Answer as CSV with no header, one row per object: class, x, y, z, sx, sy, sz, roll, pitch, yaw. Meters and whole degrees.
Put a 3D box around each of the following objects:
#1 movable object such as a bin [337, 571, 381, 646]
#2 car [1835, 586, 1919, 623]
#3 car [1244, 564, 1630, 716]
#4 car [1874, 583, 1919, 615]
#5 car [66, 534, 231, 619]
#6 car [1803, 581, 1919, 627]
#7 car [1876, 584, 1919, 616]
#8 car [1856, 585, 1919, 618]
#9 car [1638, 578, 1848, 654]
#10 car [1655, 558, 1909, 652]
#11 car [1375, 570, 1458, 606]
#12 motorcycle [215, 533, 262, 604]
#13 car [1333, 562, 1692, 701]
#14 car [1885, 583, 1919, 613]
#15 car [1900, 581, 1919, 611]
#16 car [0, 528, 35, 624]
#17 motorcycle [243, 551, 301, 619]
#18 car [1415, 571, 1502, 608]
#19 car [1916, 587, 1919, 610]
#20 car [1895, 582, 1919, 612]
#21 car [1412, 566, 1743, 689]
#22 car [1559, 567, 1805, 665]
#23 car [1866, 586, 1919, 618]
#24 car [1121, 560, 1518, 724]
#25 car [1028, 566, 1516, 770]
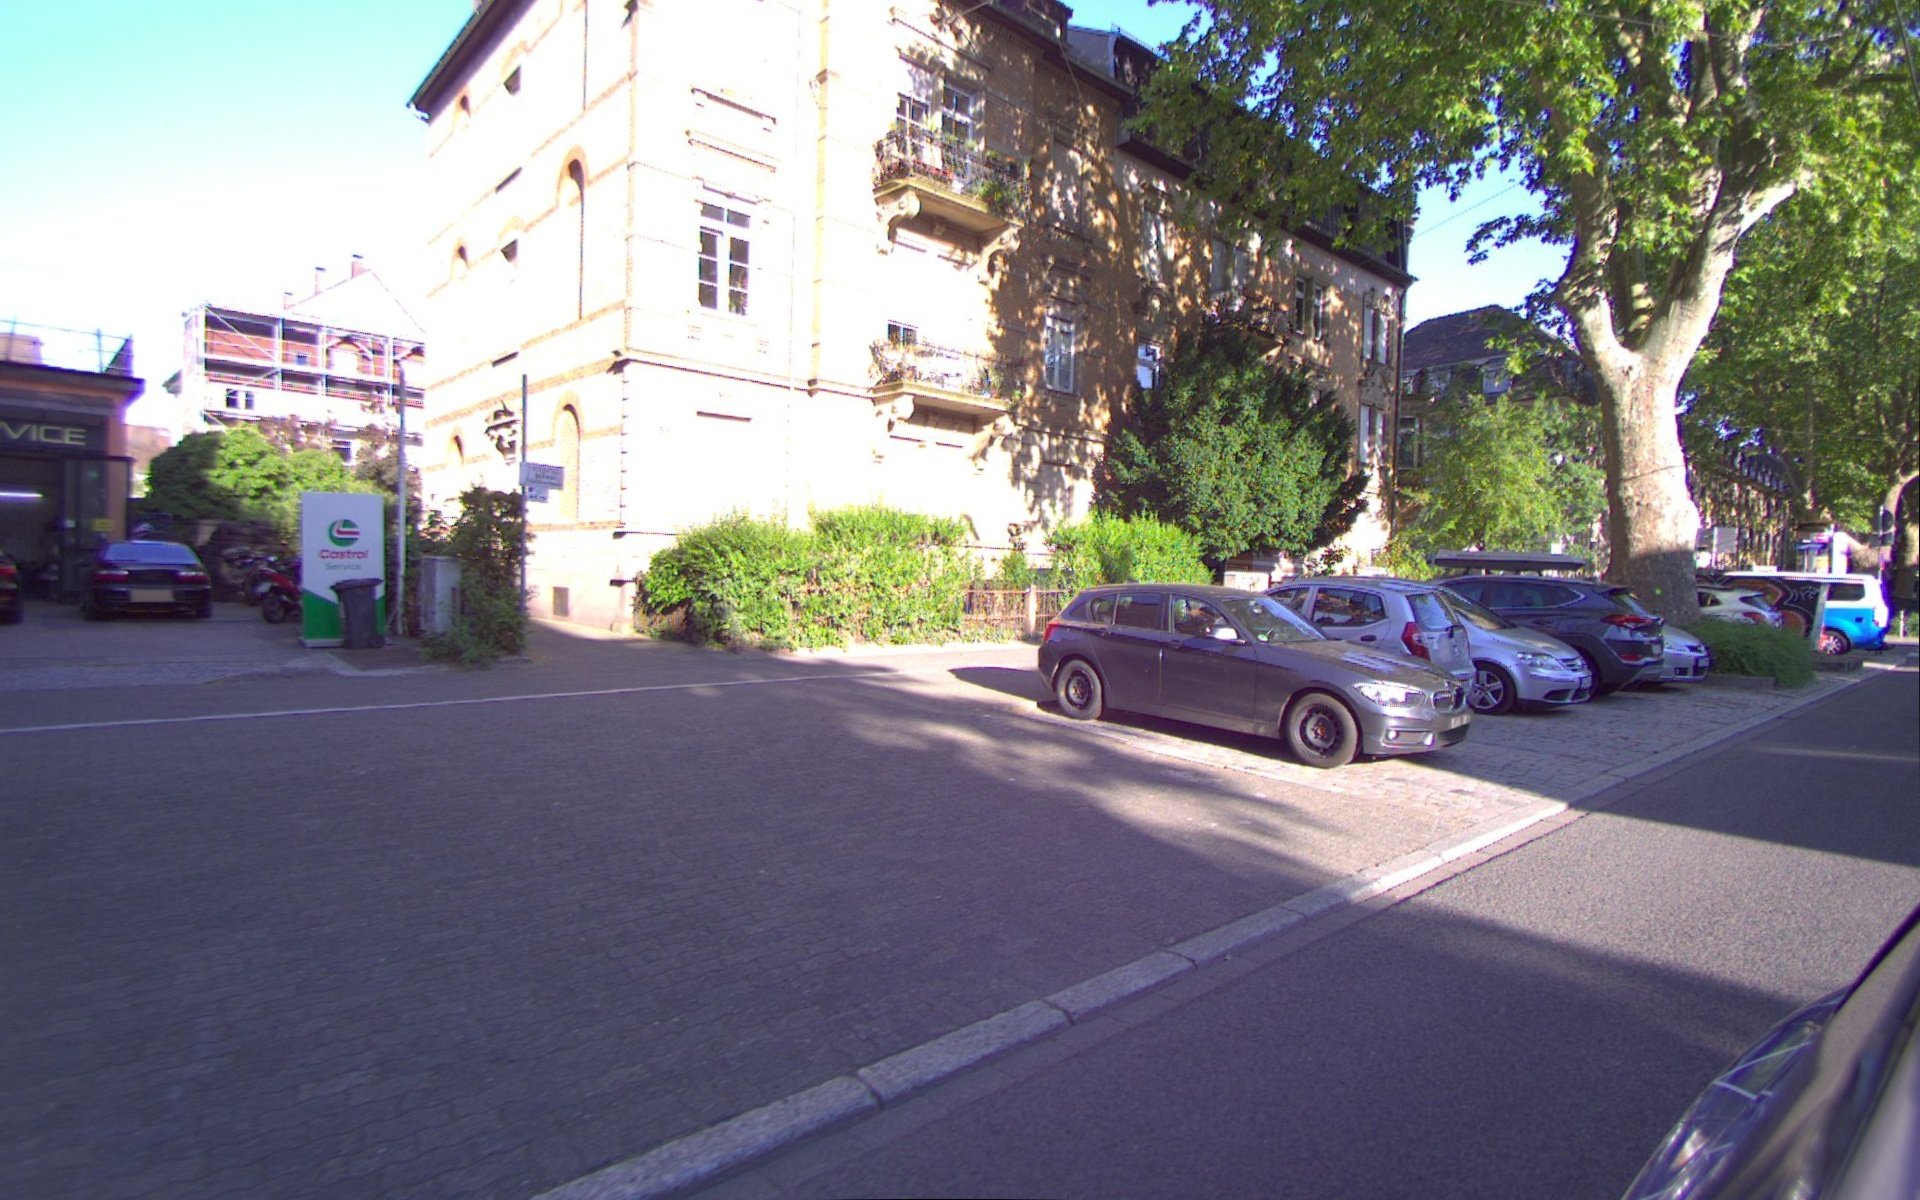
movable object such as a bin,-8.052,0.099,13.550,0.438,0.951,0.659,-1,3,-37
car,43.692,0.245,46.775,1.858,1.512,4.613,1,2,-39
car,6.065,0.379,13.306,1.785,1.593,4.211,0,2,-39
car,53.165,0.029,55.214,1.858,1.660,4.613,1,2,-39
car,-14.618,-0.467,18.151,1.911,1.343,3.990,0,3,-45
car,38.336,0.183,42.067,1.860,1.651,4.808,1,3,-41
car,51.923,0.089,53.747,1.858,1.585,4.613,1,2,-39
car,48.319,0.155,50.865,1.858,1.512,4.613,1,2,-39
car,19.071,0.329,24.768,1.761,1.506,3.787,0,4,-43
car,21.274,0.039,26.343,2.159,2.038,4.851,0,4,-45
car,21.986,-0.570,48.721,3.922,1.602,1.732,0,2,-33
motorcycle,-16.048,-0.721,22.541,0.792,1.500,2.386,0,2,-35
car,7.863,0.330,14.688,1.848,1.638,4.204,0,3,-44
car,57.777,-0.032,59.602,1.858,1.660,4.613,1,2,-39
car,66.817,-0.149,68.315,1.858,2.038,4.638,1,2,-39
car,-15.938,-0.443,15.719,3.985,1.407,1.914,4,3,41
motorcycle,-12.231,-0.296,17.975,0.792,1.116,2.386,0,2,-35
car,22.774,-0.473,46.214,3.922,1.602,1.732,0,2,-33
car,71.065,0.056,71.694,1.858,1.660,4.613,1,2,-39
car,62.463,-0.090,64.004,1.858,1.813,4.613,1,2,-39
car,9.862,0.332,16.451,1.785,1.638,4.211,0,2,-39
car,14.725,0.249,20.782,1.761,1.638,3.787,0,4,-43
car,49.941,0.178,52.138,1.858,1.512,4.613,1,2,-39
car,4.162,0.349,12.303,1.785,1.575,4.211,0,2,-39
car,2.800,0.459,9.850,1.786,1.465,4.207,0,3,-42
